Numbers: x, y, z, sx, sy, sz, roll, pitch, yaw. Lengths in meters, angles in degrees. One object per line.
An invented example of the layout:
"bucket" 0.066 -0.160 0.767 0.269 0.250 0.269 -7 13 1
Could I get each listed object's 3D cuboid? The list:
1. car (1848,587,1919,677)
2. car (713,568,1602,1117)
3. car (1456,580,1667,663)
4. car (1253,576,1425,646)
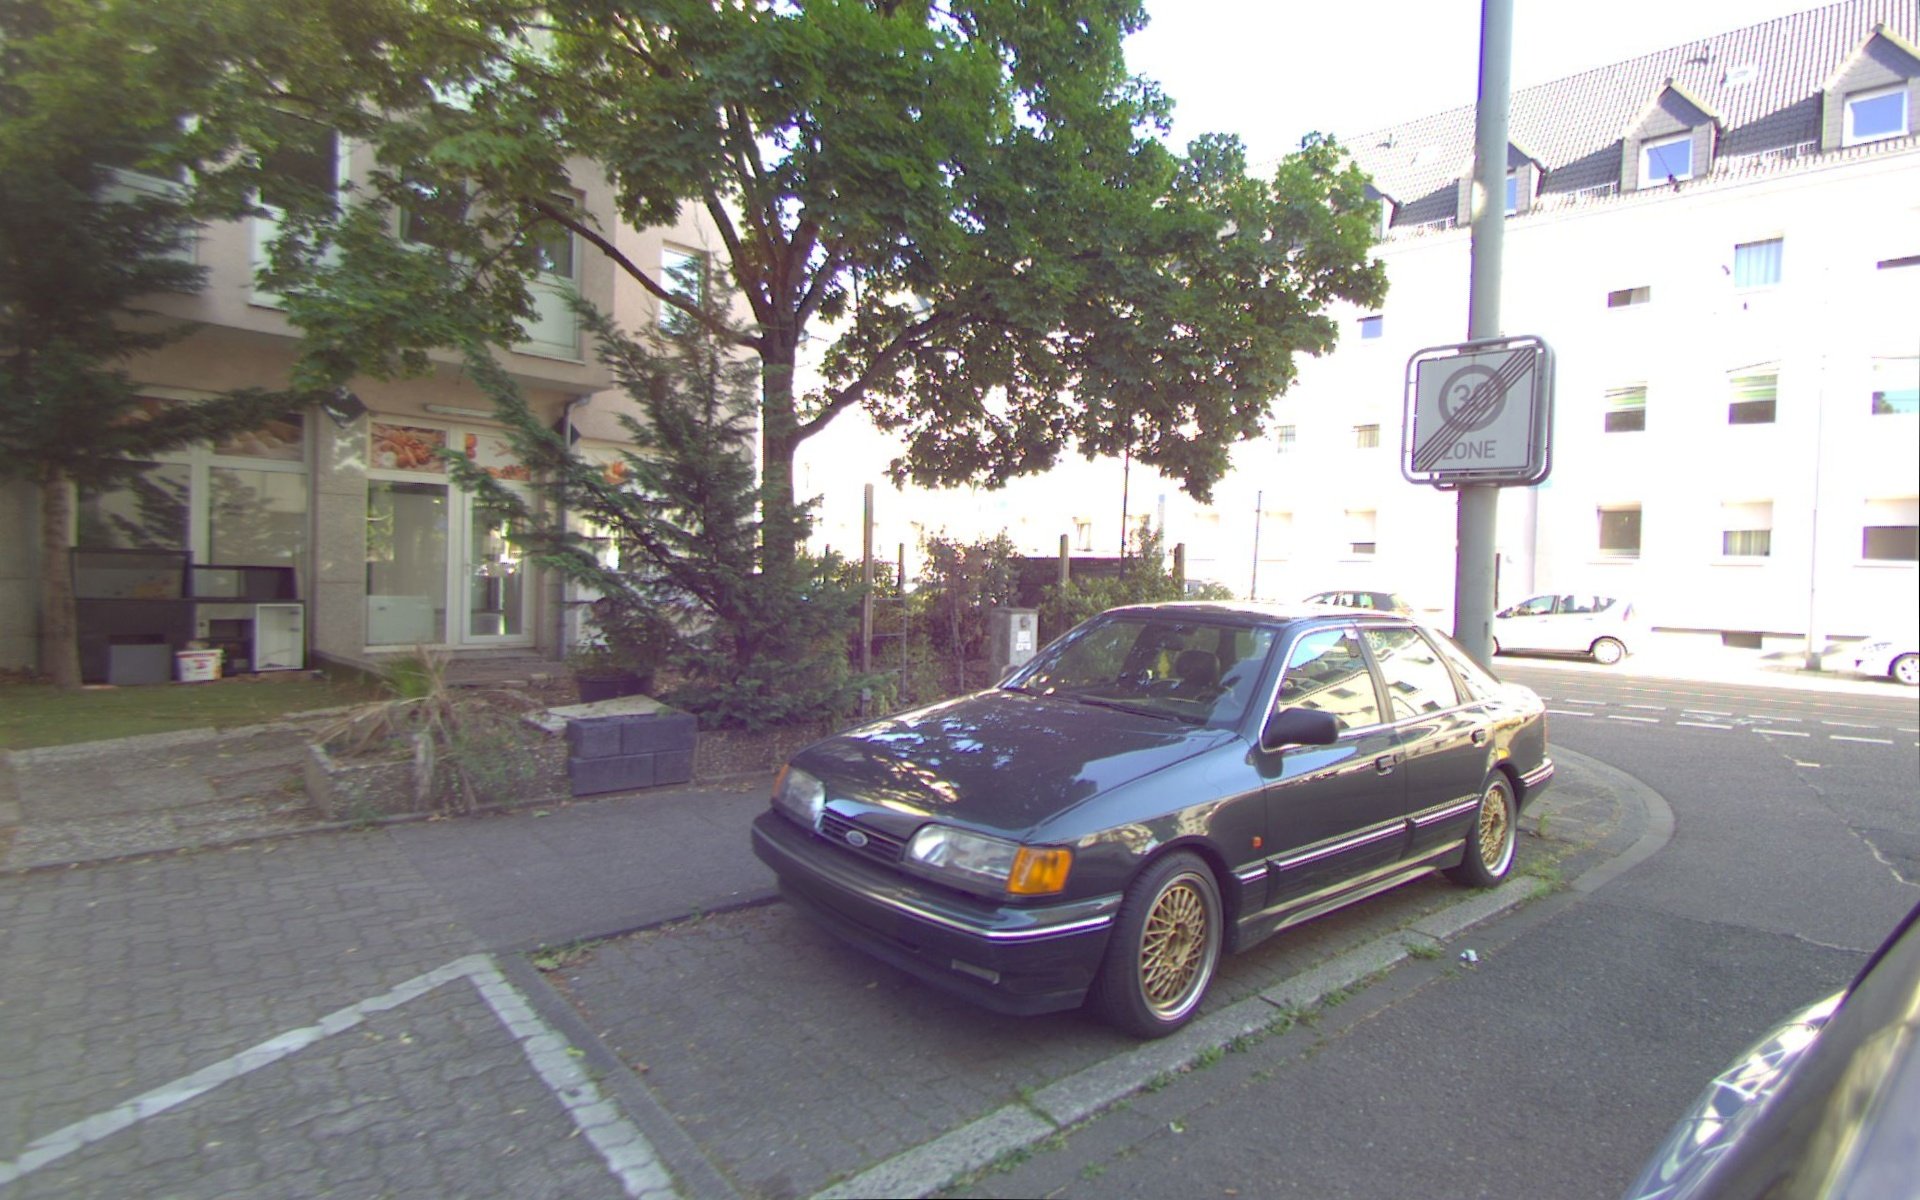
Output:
"car" 19.076 0.645 18.289 4.494 1.590 1.659 3 4 43
"car" 1.292 0.673 4.845 4.489 1.405 1.712 1 3 -41
"car" 13.788 0.416 23.342 3.893 1.589 1.733 3 5 44
"car" 9.984 0.228 26.855 3.992 1.556 1.573 3 5 42
